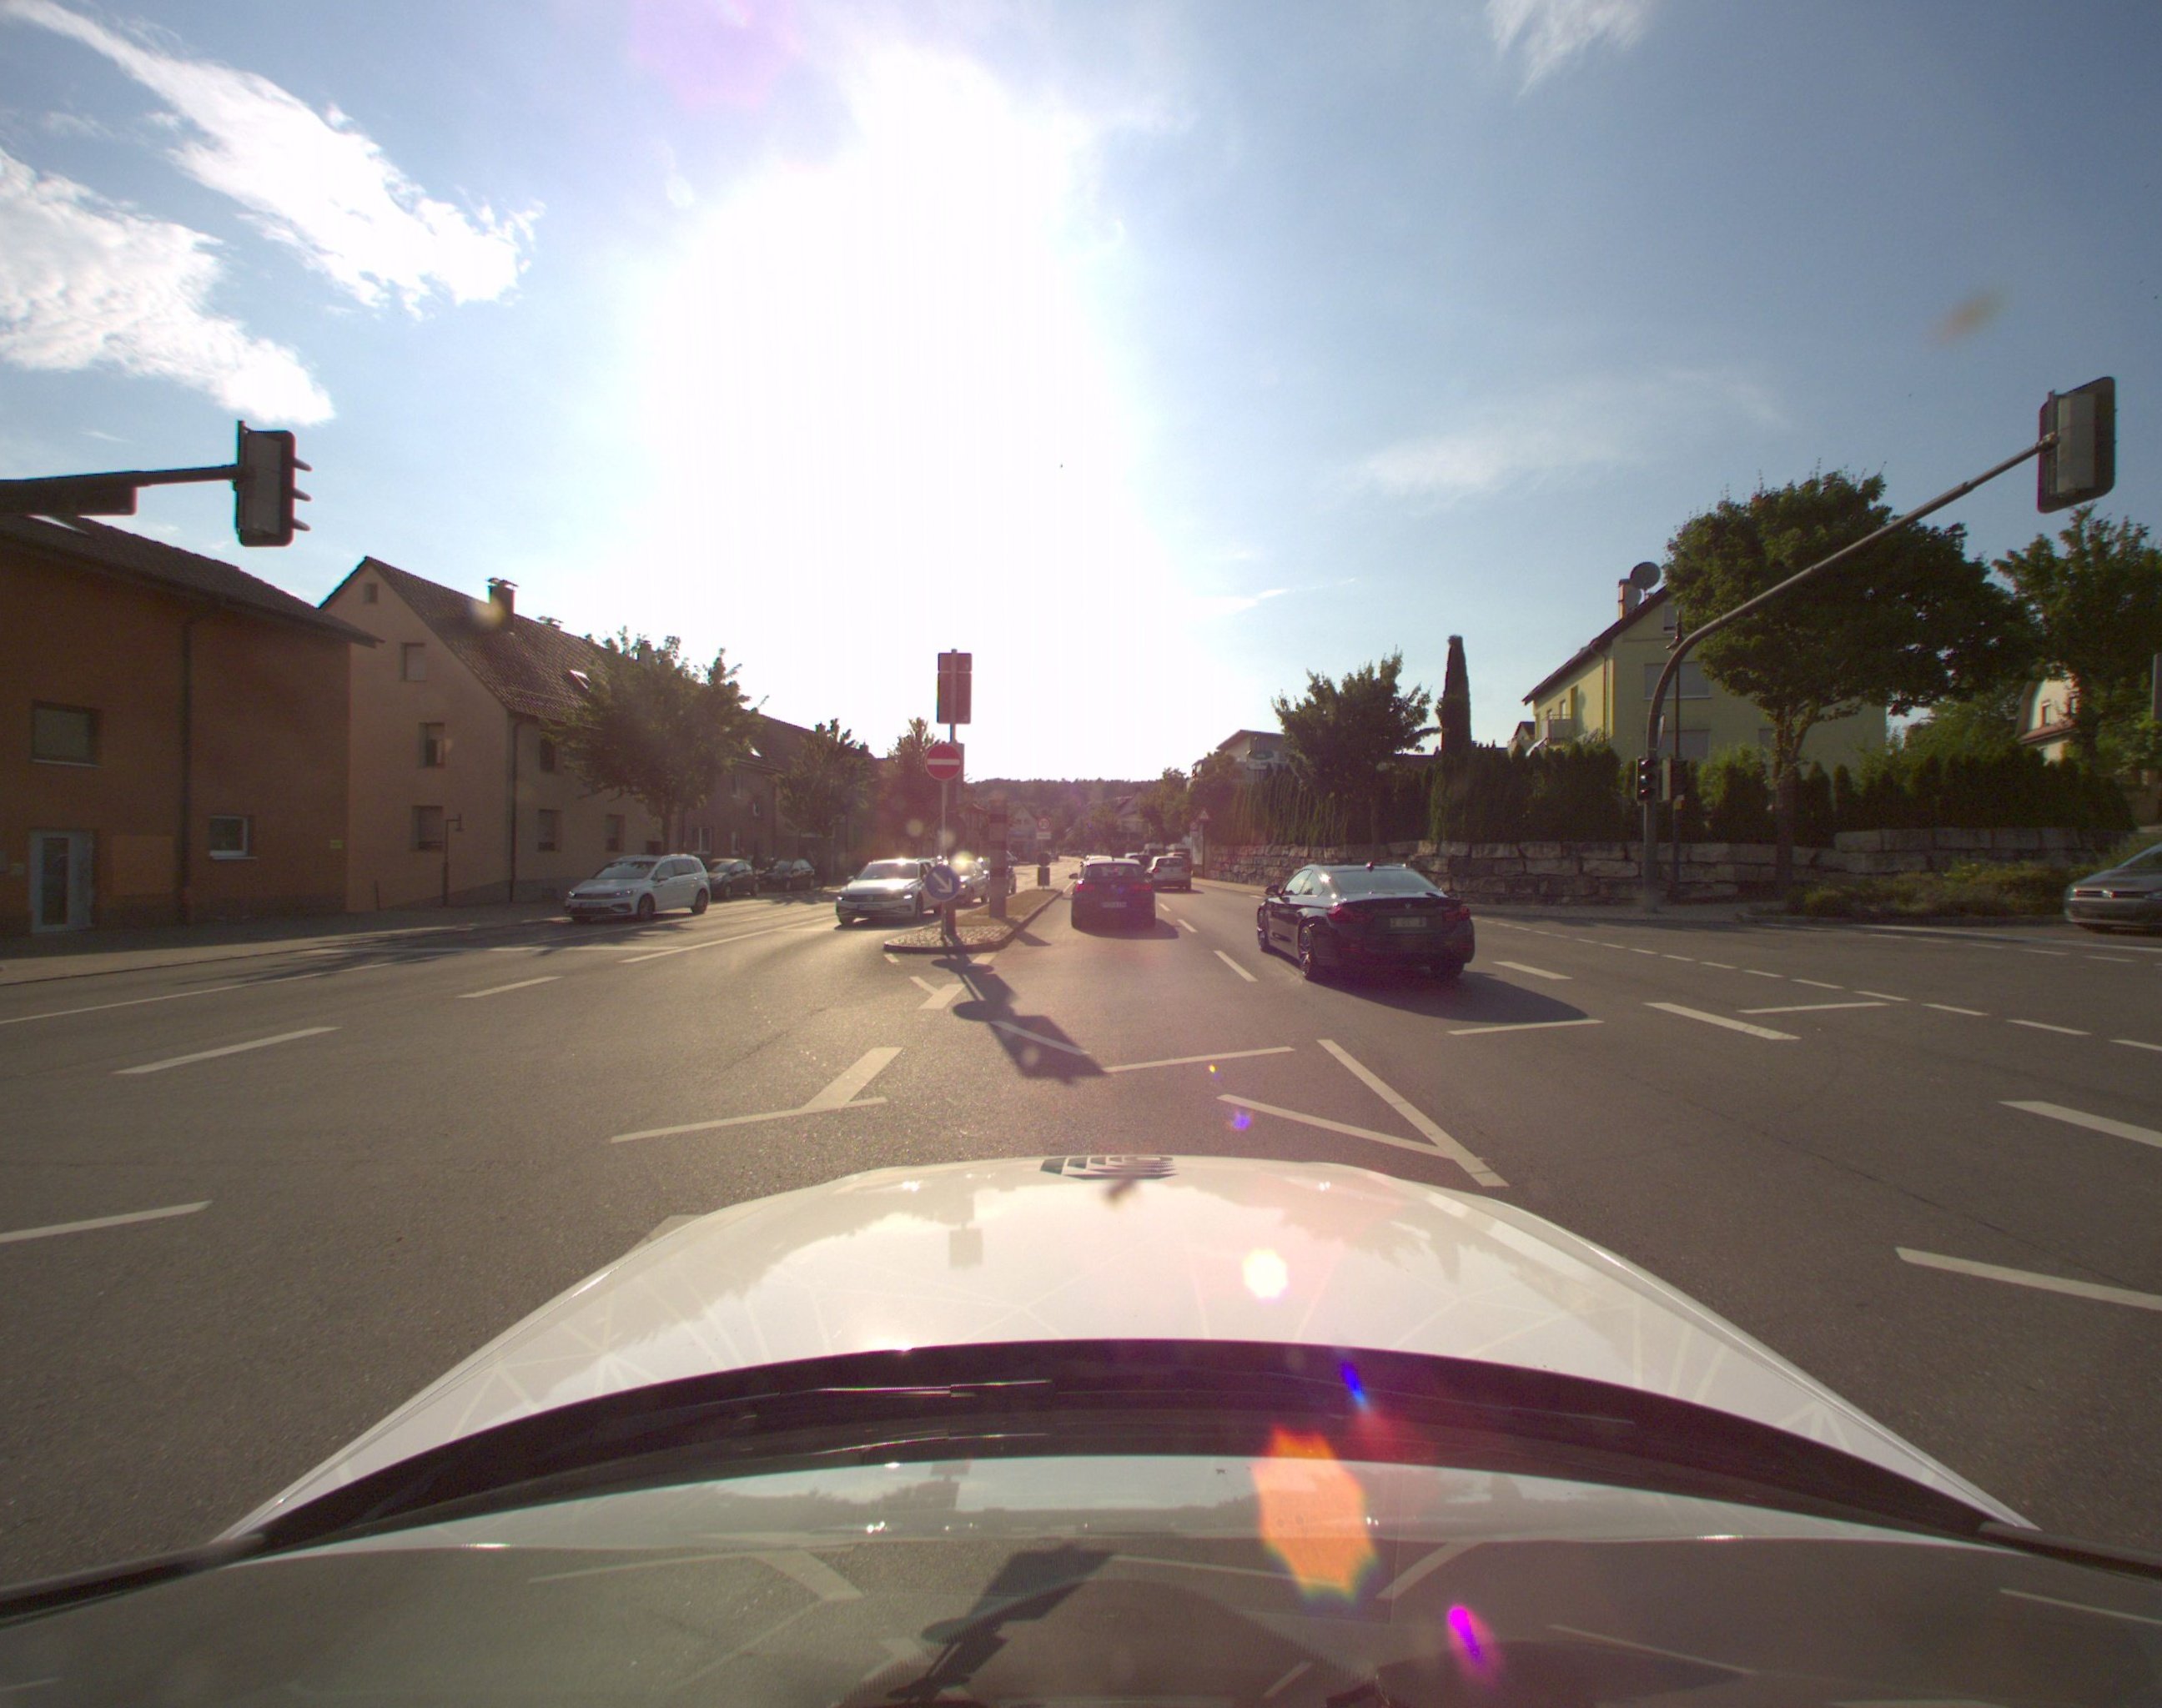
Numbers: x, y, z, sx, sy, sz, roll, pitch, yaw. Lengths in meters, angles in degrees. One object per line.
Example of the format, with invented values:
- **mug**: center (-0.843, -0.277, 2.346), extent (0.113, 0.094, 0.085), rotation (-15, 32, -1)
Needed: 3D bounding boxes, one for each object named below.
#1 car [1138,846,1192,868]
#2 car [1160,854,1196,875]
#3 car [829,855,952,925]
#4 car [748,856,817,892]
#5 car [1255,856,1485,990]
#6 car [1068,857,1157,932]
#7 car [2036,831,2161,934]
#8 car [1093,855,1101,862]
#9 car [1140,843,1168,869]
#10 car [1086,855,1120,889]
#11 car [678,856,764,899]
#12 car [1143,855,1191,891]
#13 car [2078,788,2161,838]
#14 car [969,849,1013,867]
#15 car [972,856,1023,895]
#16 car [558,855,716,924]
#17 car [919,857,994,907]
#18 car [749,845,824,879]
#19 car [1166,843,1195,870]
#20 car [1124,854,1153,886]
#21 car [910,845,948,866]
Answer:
- **car**: center (9.804, 0.314, 94.819), extent (6.029, 2.516, 2.042), rotation (0, 0, -3)
- **car**: center (7.668, 0.819, 64.789), extent (1.833, 1.649, 4.526), rotation (0, 0, -8)
- **car**: center (-4.502, 0.790, 20.001), extent (1.828, 1.488, 4.567), rotation (0, 0, 1)
- **car**: center (-13.614, 0.867, 37.340), extent (1.613, 1.510, 4.132), rotation (0, 0, 0)
- **car**: center (3.563, 0.751, 10.893), extent (1.693, 1.369, 4.265), rotation (-1, 0, 2)
- **car**: center (0.664, 0.813, 18.066), extent (1.765, 1.456, 3.516), rotation (-1, 0, 1)
- **car**: center (16.959, 0.354, 12.158), extent (3.589, 1.450, 1.625), rotation (-2, -1, -3)
- **car**: center (3.599, 1.044, 183.480), extent (1.592, 1.485, 3.473), rotation (0, 0, -1)
- **car**: center (7.732, 0.183, 86.859), extent (2.144, 2.680, 6.599), rotation (0, 0, -2)
- **car**: center (1.077, 0.845, 40.243), extent (1.586, 1.600, 3.894), rotation (0, 0, 1)
- **car**: center (-13.743, 0.856, 31.332), extent (1.507, 1.510, 3.886), rotation (1, 0, 1)
- **car**: center (3.638, 0.781, 34.819), extent (1.747, 1.414, 3.422), rotation (0, 0, 1)
- **car**: center (38.251, -1.435, 29.027), extent (1.975, 1.643, 4.024), rotation (0, 0, 27)
- **car**: center (-12.885, 0.571, 116.895), extent (6.139, 2.444, 2.249), rotation (0, 0, -1)
- **car**: center (-3.302, 0.834, 32.877), extent (1.526, 1.462, 3.508), rotation (0, 0, 3)
- **car**: center (-11.549, 0.845, 21.566), extent (1.679, 1.612, 4.414), rotation (0, 0, 1)
- **car**: center (-3.846, 0.847, 25.689), extent (1.582, 1.427, 3.581), rotation (-1, -1, 4)
- **car**: center (-17.714, 0.478, 49.104), extent (3.805, 1.881, 1.780), rotation (2, 0, 3)
- **car**: center (10.532, 0.238, 86.973), extent (2.106, 2.722, 6.438), rotation (0, 0, -2)
- **car**: center (3.430, 0.927, 48.781), extent (1.597, 1.767, 3.413), rotation (0, 0, 2)
- **car**: center (-11.623, 0.144, 62.416), extent (1.657, 1.487, 4.007), rotation (2, 0, 6)
